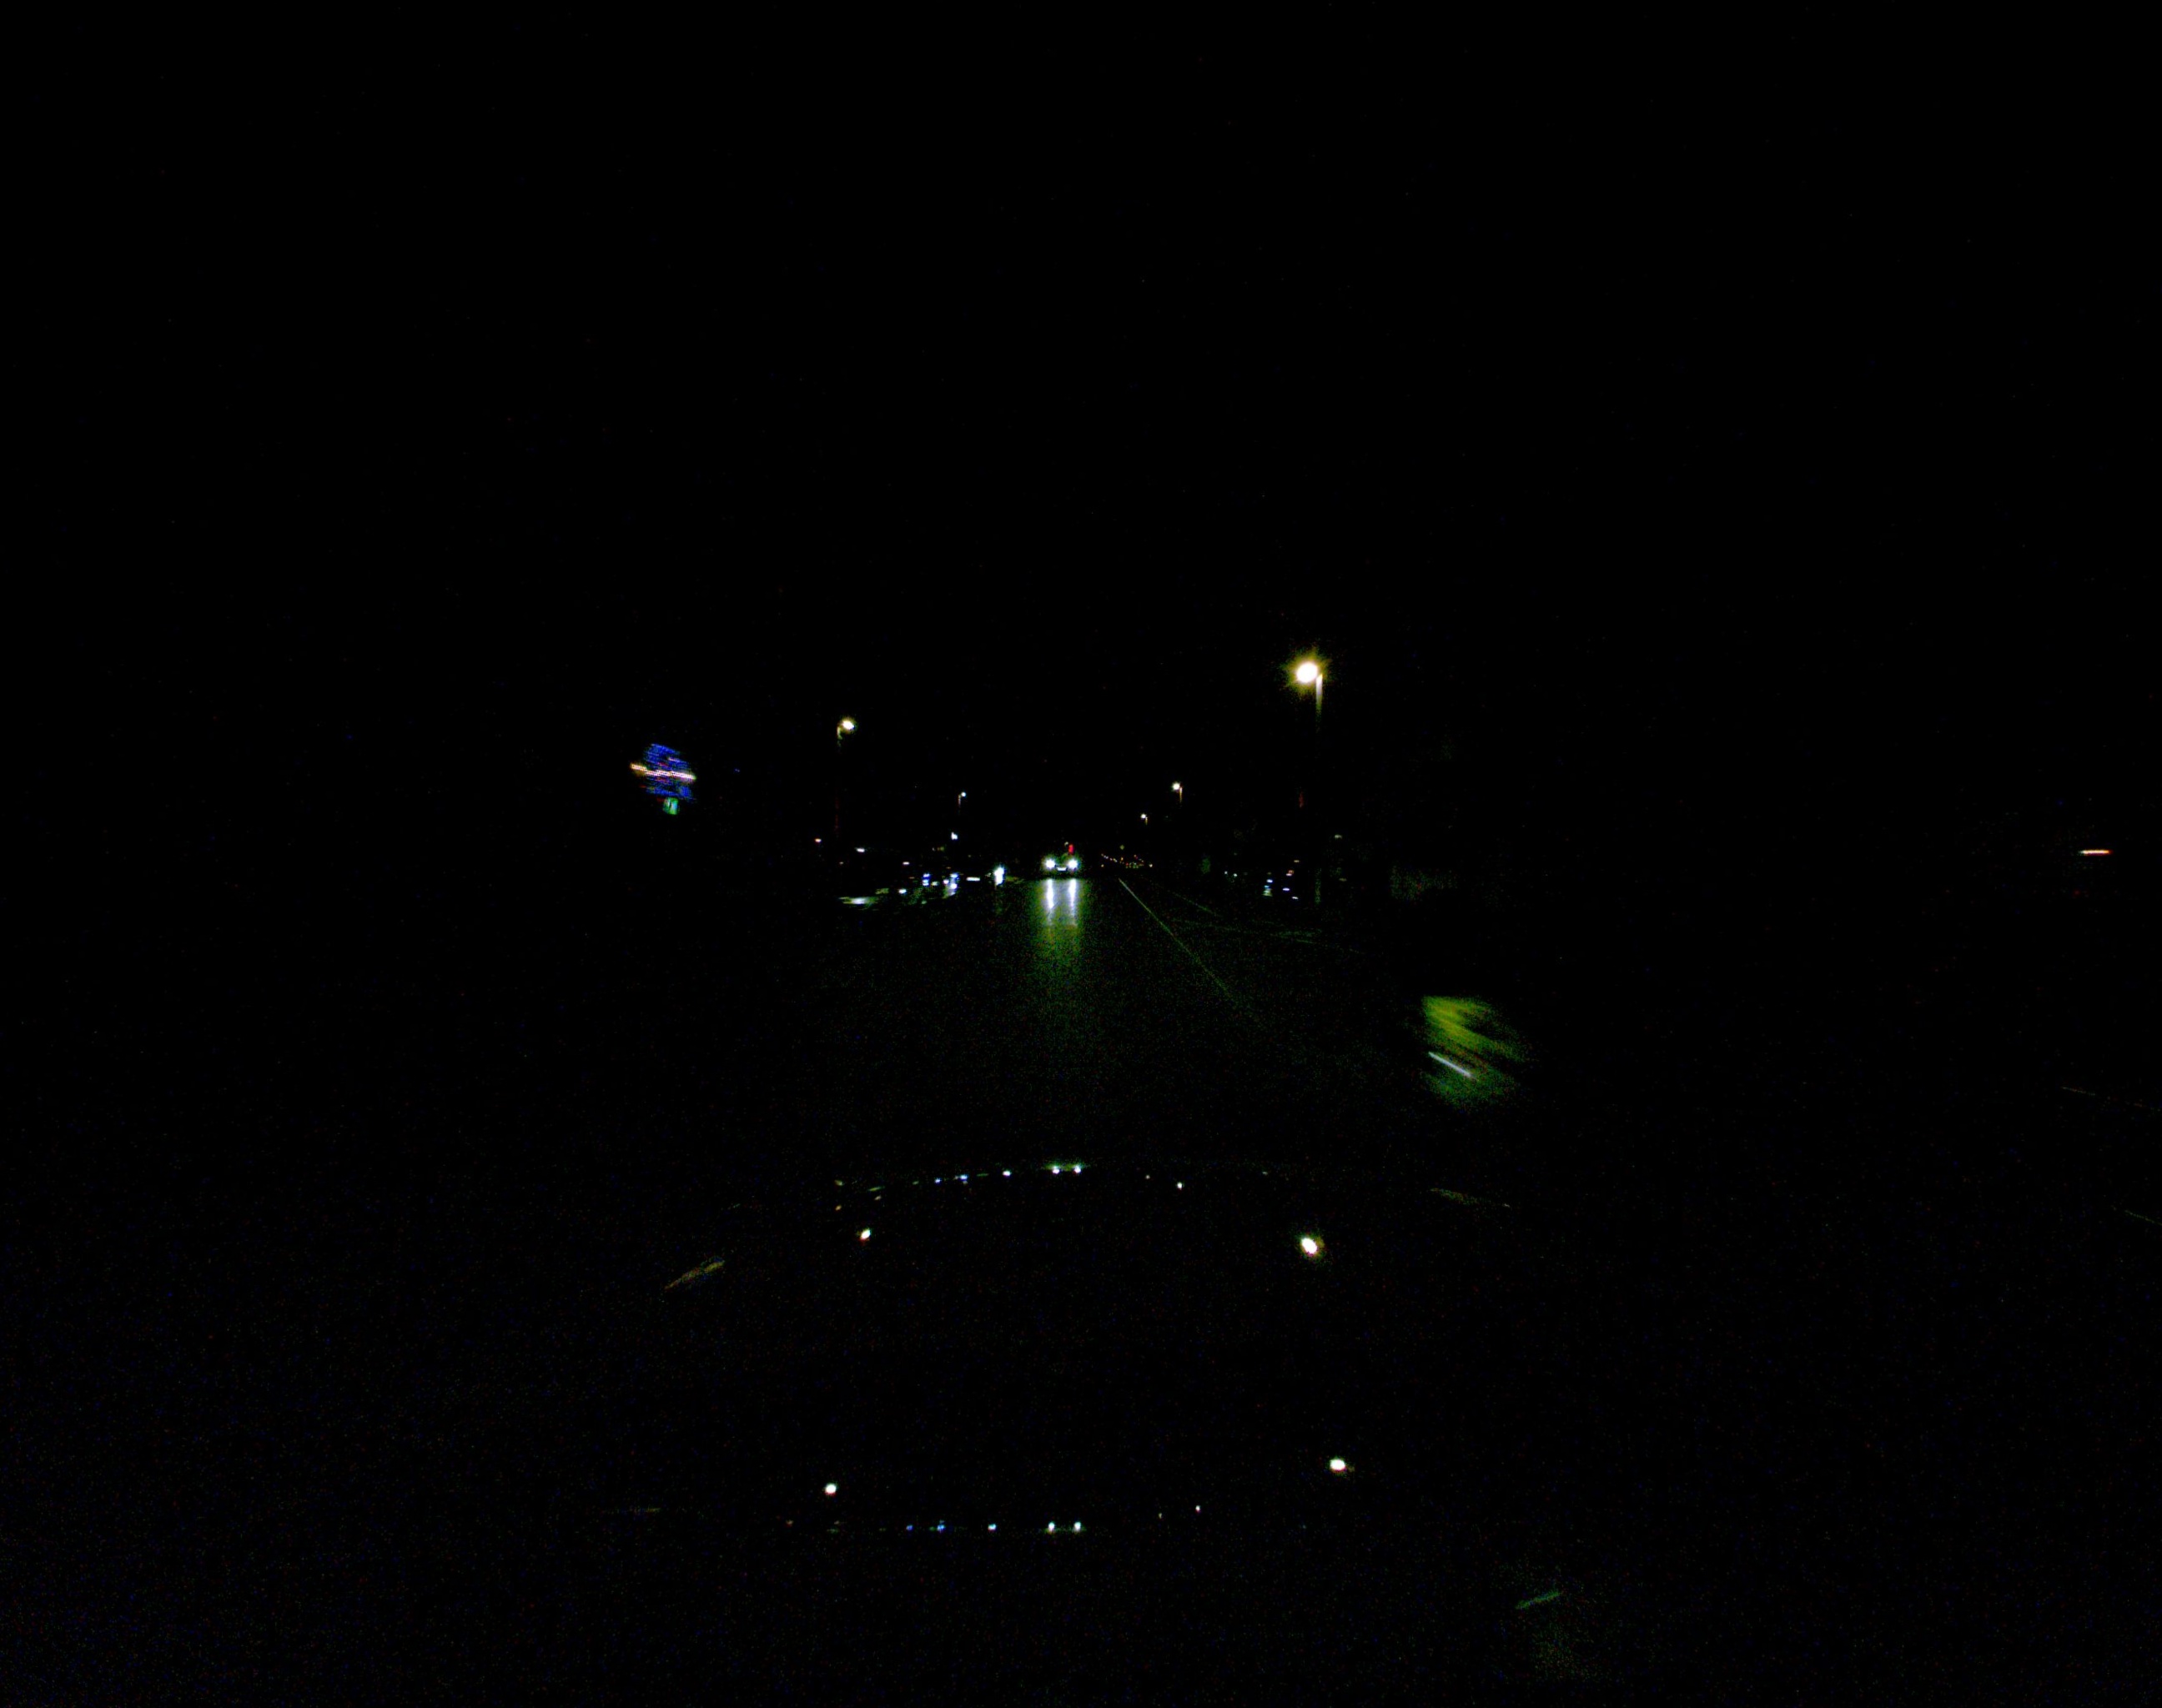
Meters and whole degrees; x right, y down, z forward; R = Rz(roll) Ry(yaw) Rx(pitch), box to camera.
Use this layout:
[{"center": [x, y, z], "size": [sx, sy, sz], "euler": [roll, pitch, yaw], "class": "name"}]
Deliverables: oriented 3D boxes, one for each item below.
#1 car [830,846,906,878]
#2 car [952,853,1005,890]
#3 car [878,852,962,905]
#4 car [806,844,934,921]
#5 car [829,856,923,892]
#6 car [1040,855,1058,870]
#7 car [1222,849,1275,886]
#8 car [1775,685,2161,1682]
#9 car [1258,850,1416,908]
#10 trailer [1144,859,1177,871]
[{"center": [-12.282, 0.443, 47.123], "size": [3.983, 1.703, 1.944], "euler": [-2, 0, -7], "class": "car"}, {"center": [-4.420, 0.719, 35.637], "size": [1.744, 1.468, 4.008], "euler": [2, 0, 0], "class": "car"}, {"center": [-4.908, 0.704, 25.330], "size": [1.765, 1.468, 3.966], "euler": [2, 0, 0], "class": "car"}, {"center": [-5.013, 0.624, 20.060], "size": [1.922, 1.636, 4.470], "euler": [2, 0, 0], "class": "car"}, {"center": [-10.108, 0.988, 40.388], "size": [4.100, 1.662, 2.001], "euler": [-1, 0, 2], "class": "car"}, {"center": [-3.691, 1.003, 95.607], "size": [1.665, 1.591, 3.990], "euler": [2, -1, 3], "class": "car"}, {"center": [7.433, 0.595, 36.474], "size": [1.634, 1.560, 3.678], "euler": [0, 0, 0], "class": "car"}, {"center": [4.116, 0.598, 1.203], "size": [4.332, 1.816, 2.035], "euler": [0, 0, 6], "class": "car"}, {"center": [7.108, 0.677, 22.883], "size": [3.891, 1.486, 1.832], "euler": [-1, 0, 0], "class": "car"}, {"center": [8.551, 1.189, 87.834], "size": [3.420, 1.002, 1.954], "euler": [4, -1, 0], "class": "trailer"}]
